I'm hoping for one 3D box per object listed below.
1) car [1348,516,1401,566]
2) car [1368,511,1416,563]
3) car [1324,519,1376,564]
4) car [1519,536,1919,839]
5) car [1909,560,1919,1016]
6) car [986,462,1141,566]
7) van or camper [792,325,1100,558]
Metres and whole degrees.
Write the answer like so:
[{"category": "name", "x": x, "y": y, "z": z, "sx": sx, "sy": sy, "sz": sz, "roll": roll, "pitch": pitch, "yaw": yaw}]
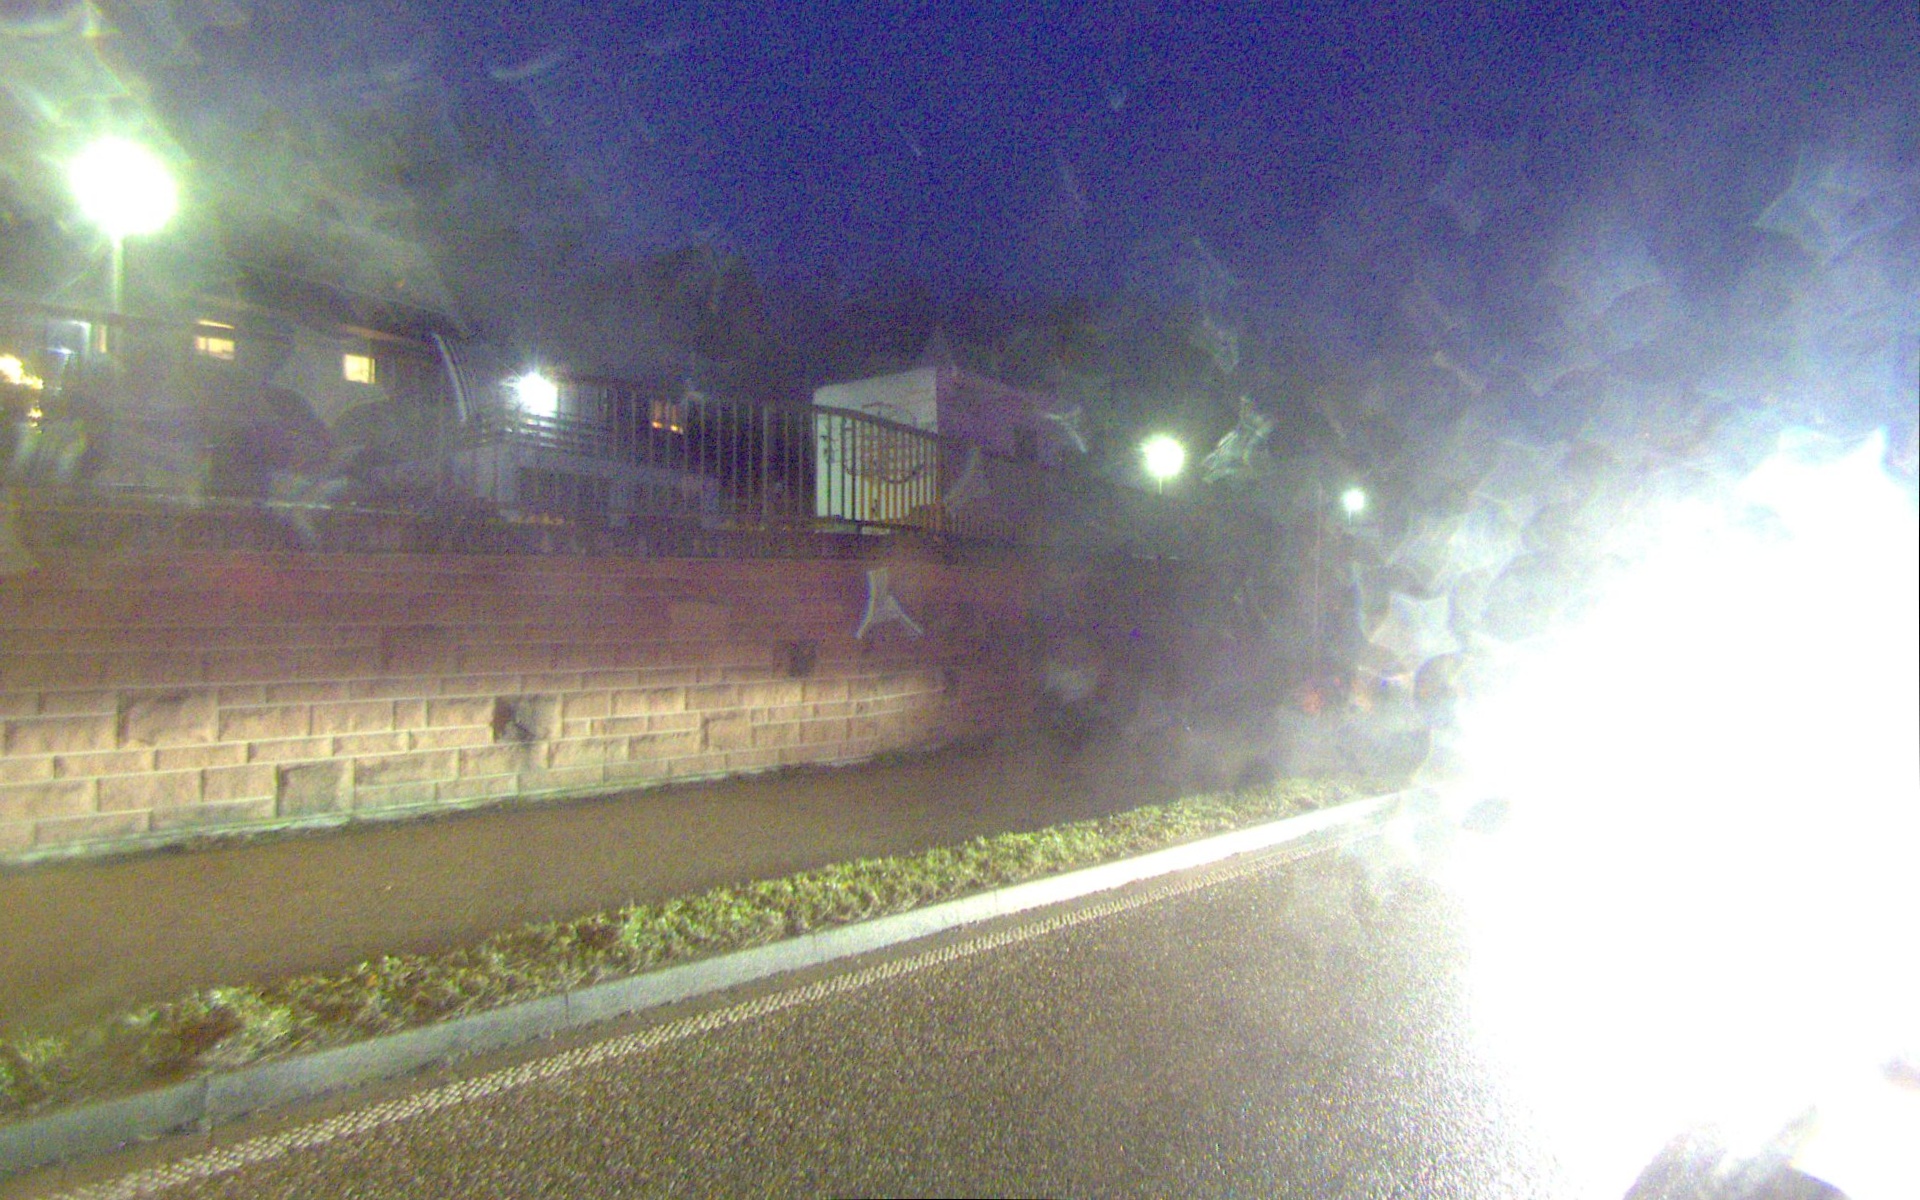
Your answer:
[{"category": "car", "x": 22.226, "y": -3.089, "z": 54.218, "sx": 1.922, "sy": 2.451, "sz": 4.206, "roll": 0, "pitch": 0, "yaw": 32}, {"category": "car", "x": 25.098, "y": -3.590, "z": 58.735, "sx": 1.922, "sy": 2.810, "sz": 4.206, "roll": 0, "pitch": 0, "yaw": 32}, {"category": "car", "x": 19.221, "y": -2.825, "z": 49.779, "sx": 1.721, "sy": 2.039, "sz": 3.658, "roll": 0, "pitch": 0, "yaw": 32}, {"category": "car", "x": 6.666, "y": 0.479, "z": 7.929, "sx": 4.843, "sy": 1.757, "sz": 1.842, "roll": -1, "pitch": 0, "yaw": -31}, {"category": "car", "x": 5.553, "y": 0.638, "z": 4.271, "sx": 4.278, "sy": 1.602, "sz": 1.825, "roll": -1, "pitch": 0, "yaw": -41}, {"category": "car", "x": 2.464, "y": -1.863, "z": 23.258, "sx": 1.985, "sy": 2.039, "sz": 3.954, "roll": 0, "pitch": 0, "yaw": 32}, {"category": "van or camper", "x": 0.064, "y": -2.185, "z": 16.251, "sx": 2.394, "sy": 2.828, "sz": 5.712, "roll": 0, "pitch": 0, "yaw": 30}]
